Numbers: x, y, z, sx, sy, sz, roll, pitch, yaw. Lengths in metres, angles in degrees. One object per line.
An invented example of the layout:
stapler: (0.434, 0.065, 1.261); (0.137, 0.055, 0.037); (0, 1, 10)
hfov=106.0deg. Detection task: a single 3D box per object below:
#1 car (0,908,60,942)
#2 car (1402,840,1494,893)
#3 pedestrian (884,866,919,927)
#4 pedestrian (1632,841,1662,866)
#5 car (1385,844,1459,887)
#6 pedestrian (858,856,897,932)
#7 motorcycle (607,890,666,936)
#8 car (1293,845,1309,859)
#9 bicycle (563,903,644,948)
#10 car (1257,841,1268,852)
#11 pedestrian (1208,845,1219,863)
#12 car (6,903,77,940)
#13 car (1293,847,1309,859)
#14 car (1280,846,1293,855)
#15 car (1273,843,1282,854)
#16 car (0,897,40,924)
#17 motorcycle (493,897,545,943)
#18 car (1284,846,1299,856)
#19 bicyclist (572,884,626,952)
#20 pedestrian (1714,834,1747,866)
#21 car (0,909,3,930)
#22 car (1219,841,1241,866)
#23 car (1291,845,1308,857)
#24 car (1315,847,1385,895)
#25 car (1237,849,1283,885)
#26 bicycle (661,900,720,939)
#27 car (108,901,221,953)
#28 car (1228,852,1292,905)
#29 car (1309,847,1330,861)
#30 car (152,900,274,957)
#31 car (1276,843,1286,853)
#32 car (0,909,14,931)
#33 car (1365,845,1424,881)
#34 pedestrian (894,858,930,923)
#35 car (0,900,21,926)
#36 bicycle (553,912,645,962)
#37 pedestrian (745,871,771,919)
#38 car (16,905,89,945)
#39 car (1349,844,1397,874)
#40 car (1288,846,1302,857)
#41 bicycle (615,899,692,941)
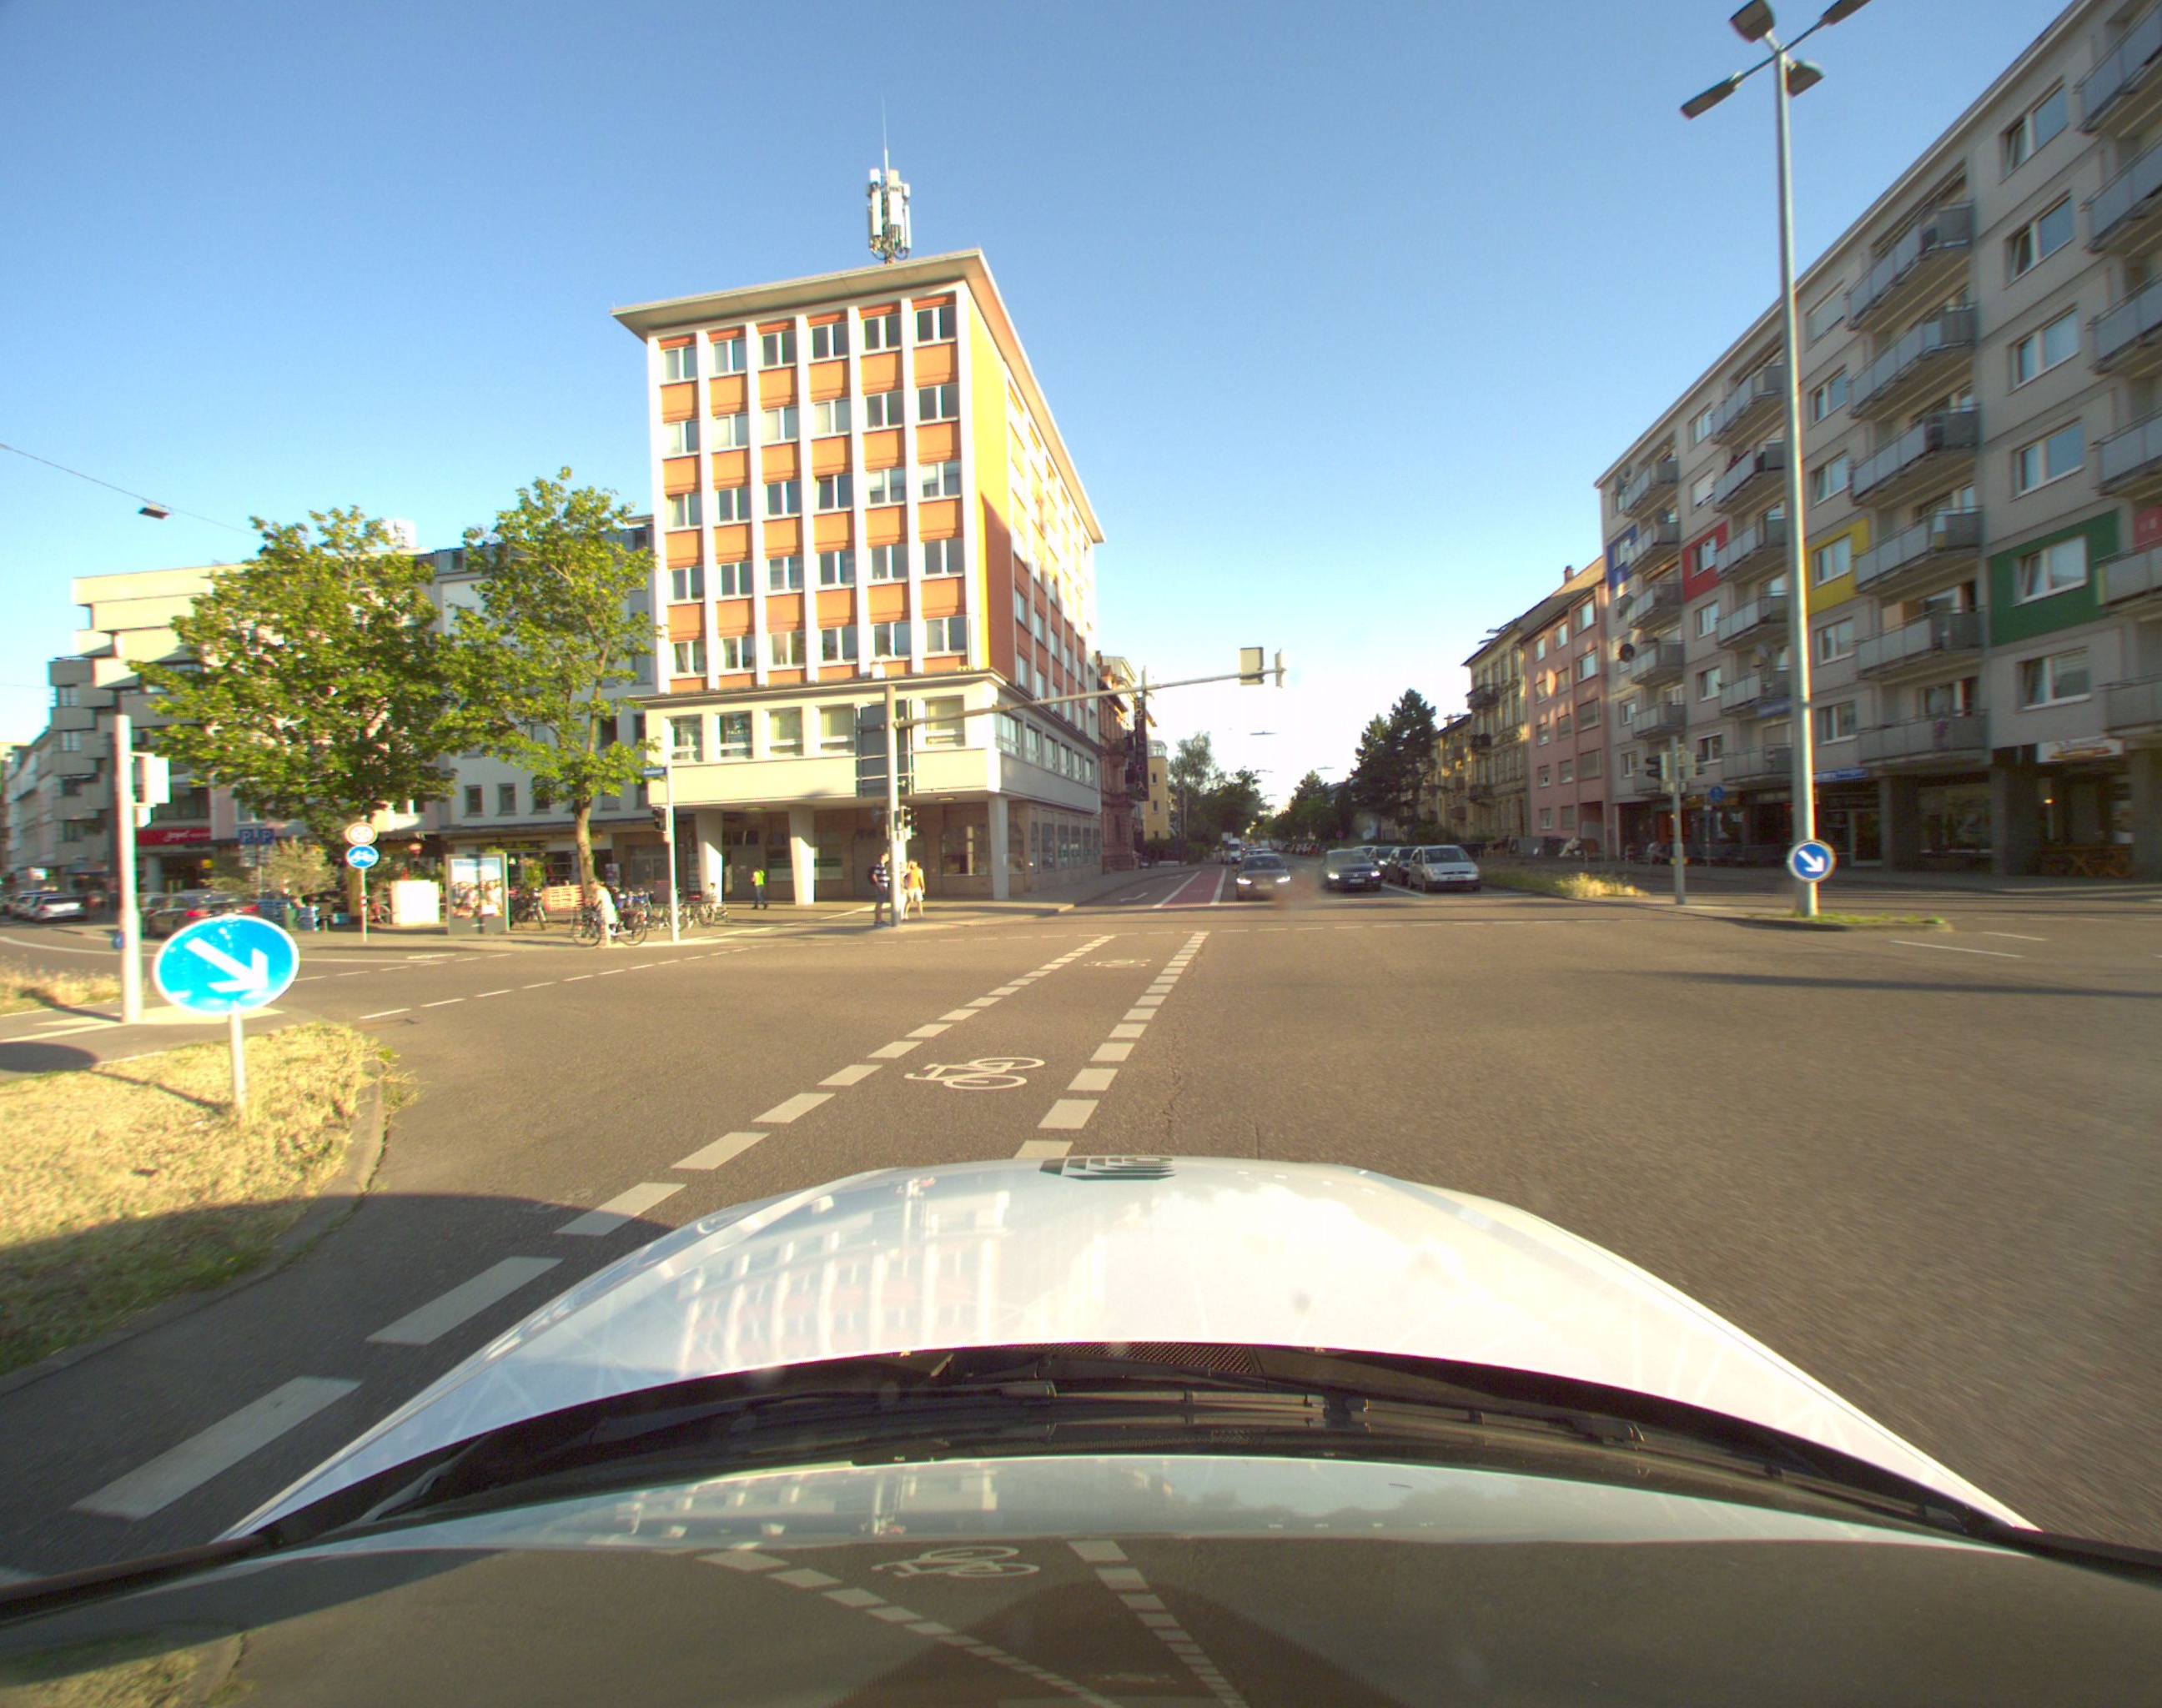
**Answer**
car: (-64.636, 4.326, 49.899); (3.948, 1.839, 2.013); (-2, 0, 31)
car: (11.787, 0.349, 26.402); (1.979, 1.486, 4.015); (-2, 0, 14)
pedestrian: (-5.094, 1.202, 23.123); (0.723, 1.684, 0.587); (-2, 0, 8)
pedestrian: (26.964, -0.035, 38.820); (0.855, 1.170, 0.792); (-2, 0, 2)
car: (12.931, 0.397, 31.121); (1.979, 1.486, 4.015); (-2, 0, 14)
pedestrian: (-5.423, 1.051, 21.701); (0.727, 1.946, 0.710); (-2, 0, -35)
motorcycle: (-14.286, 1.891, 26.248); (0.540, 1.317, 1.842); (-2, 0, 12)
car: (33.412, -0.384, 123.720); (1.980, 1.997, 4.234); (-2, 0, 11)
bicycle: (-12.322, 1.837, 21.030); (1.889, 1.075, 0.470); (-2, 0, 9)
car: (45.415, -1.874, 203.740); (2.599, 2.376, 5.273); (-2, 0, 12)
pedestrian: (15.719, 0.012, 96.656); (1.020, 2.013, 0.944); (-2, 0, -3)
car: (-59.585, 3.848, 46.683); (3.948, 1.861, 2.013); (-2, 0, 31)
car: (32.094, -0.156, 118.832); (1.980, 1.517, 4.234); (-2, 0, 11)
car: (38.981, -0.701, 154.519); (1.980, 1.517, 4.234); (-2, 0, 11)
car: (47.286, -1.326, 195.810); (1.980, 2.376, 4.013); (-2, 0, 12)
car: (-75.590, 3.976, 57.529); (3.948, 1.710, 2.013); (-2, 0, 31)
motorcycle: (-16.876, 1.980, 24.443); (1.376, 1.317, 0.382); (-2, 0, 12)
car: (33.979, -0.447, 131.488); (1.980, 1.517, 4.234); (-2, 0, 11)
bicyclist: (-10.718, 1.412, 18.131); (0.855, 1.426, 0.499); (-3, 0, -12)
pedestrian: (26.461, -0.178, 33.173); (0.707, 1.256, 0.795); (-2, 0, 7)
car: (-98.872, 5.963, 73.356); (3.853, 1.878, 2.013); (-2, 0, 36)
car: (14.698, -0.030, 80.096); (1.980, 2.324, 4.234); (-2, 0, 11)
car: (30.503, -0.432, 113.823); (1.980, 1.517, 4.234); (-2, 0, 11)
car: (9.448, 0.545, 28.860); (1.979, 1.486, 4.015); (-2, 0, 14)
car: (8.555, 0.593, 39.044); (1.980, 1.531, 4.014); (-2, 0, 12)
bicycle: (-11.453, 1.916, 23.891); (1.546, 1.075, 0.396); (-2, 0, 9)
car: (-34.729, 2.708, 30.849); (3.949, 1.701, 2.013); (-2, 0, 30)
car: (5.964, 0.756, 26.936); (1.867, 1.486, 4.015); (-2, 0, 14)
car: (27.640, 0.004, 94.515); (1.980, 1.517, 4.234); (-2, 0, 11)
car: (-29.676, 2.493, 27.835); (3.948, 1.684, 2.013); (-2, 0, 31)
car: (44.242, -1.321, 180.390); (1.980, 2.050, 4.234); (-2, 0, 11)
car: (-102.412, 6.248, 76.808); (3.948, 2.013, 2.013); (-2, 0, 36)
car: (14.163, 0.362, 36.986); (1.979, 1.486, 4.015); (-2, 0, 14)
pedestrian: (-4.927, 1.055, 23.731); (0.707, 1.818, 0.754); (-2, 0, 10)
car: (-86.433, 4.761, 65.099); (3.948, 1.981, 2.013); (-2, 0, 37)
bicycle: (-10.703, 1.837, 18.124); (1.664, 0.944, 0.507); (-2, 0, -13)
pedestrian: (-12.379, 1.568, 31.232); (0.634, 1.791, 0.587); (-2, 0, 9)
car: (-55.204, 3.766, 43.696); (3.948, 1.864, 1.938); (-2, 0, 32)
car: (15.579, 0.230, 43.646); (1.979, 1.486, 4.015); (-2, 0, 14)
car: (37.591, -0.392, 142.945); (1.980, 1.833, 4.234); (-2, 0, 11)
bicycle: (-11.909, 1.845, 22.681); (1.977, 1.075, 0.470); (-2, 0, 9)
